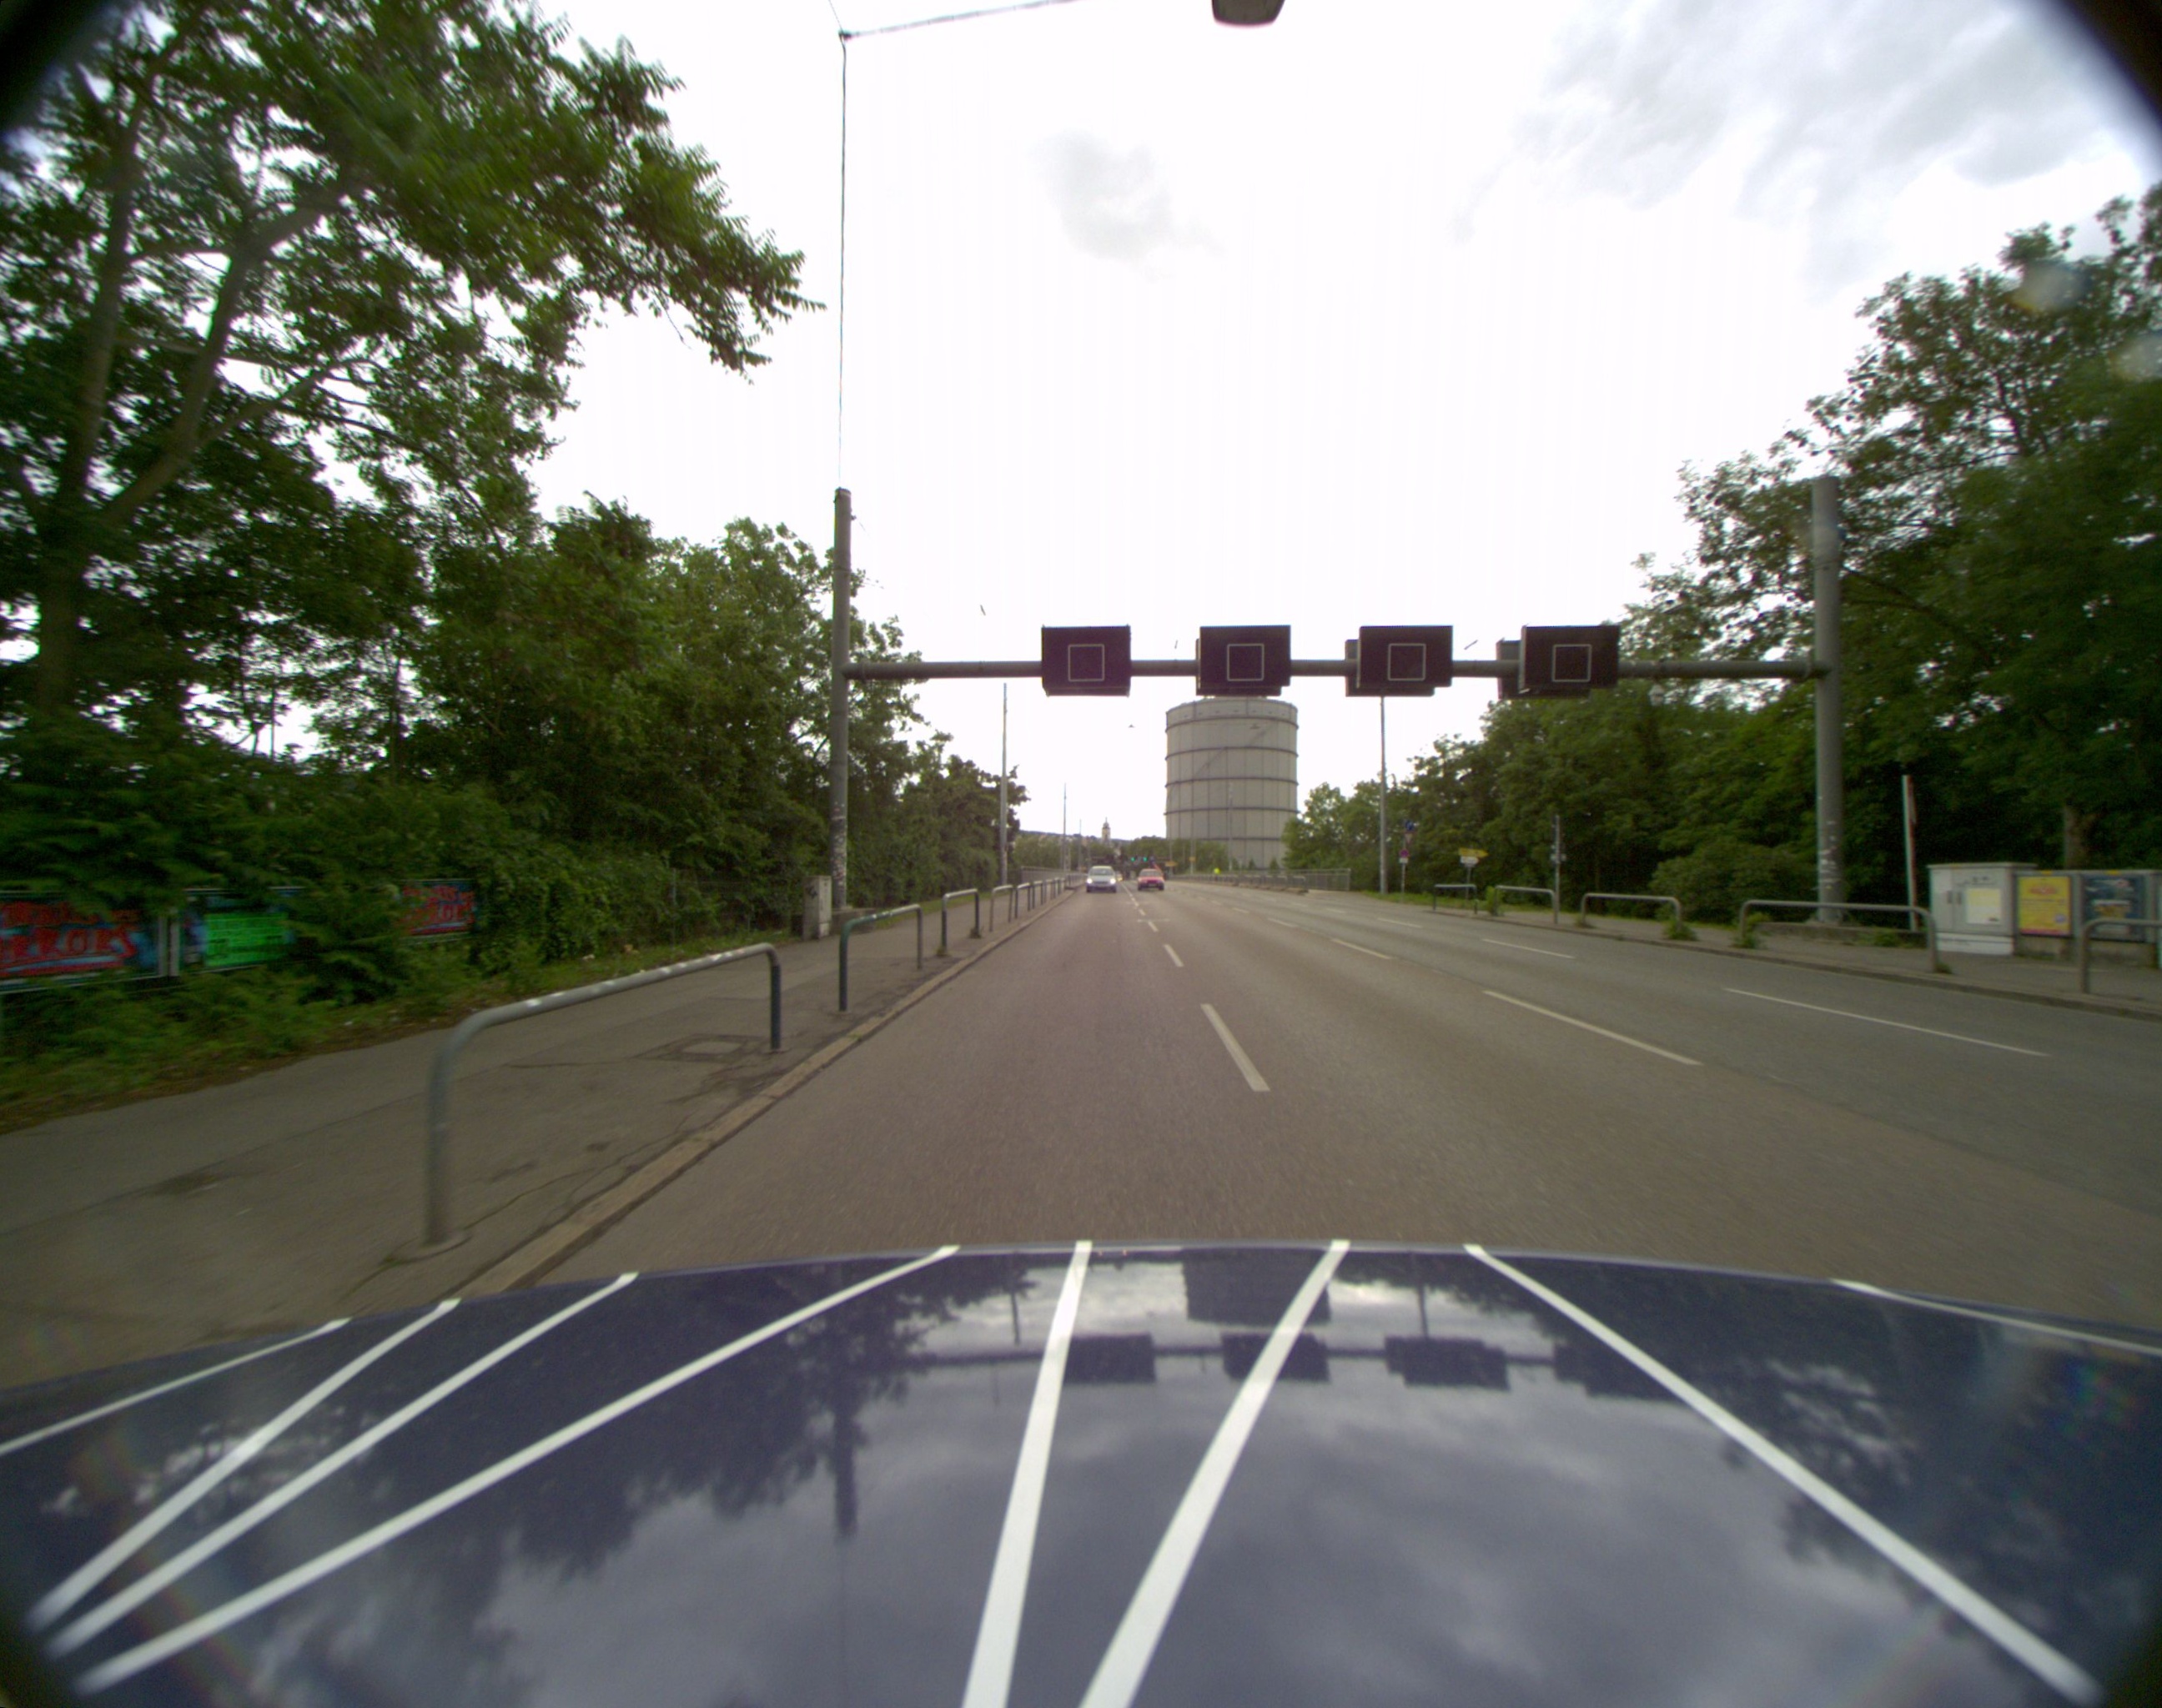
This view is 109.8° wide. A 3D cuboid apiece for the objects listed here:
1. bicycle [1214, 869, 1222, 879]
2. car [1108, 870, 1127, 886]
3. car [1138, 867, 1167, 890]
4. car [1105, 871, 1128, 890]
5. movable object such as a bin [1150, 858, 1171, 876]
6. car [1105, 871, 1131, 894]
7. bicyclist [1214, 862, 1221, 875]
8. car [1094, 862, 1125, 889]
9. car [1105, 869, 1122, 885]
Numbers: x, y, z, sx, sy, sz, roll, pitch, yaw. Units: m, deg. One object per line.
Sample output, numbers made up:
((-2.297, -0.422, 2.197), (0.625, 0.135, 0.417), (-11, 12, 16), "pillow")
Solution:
((16.157, 2.350, 89.453), (0.636, 1.057, 1.983), (-7, -2, 5), "bicycle")
((3.878, 2.496, 80.737), (1.879, 1.586, 4.000), (0, 0, 0), "car")
((4.806, 1.667, 51.663), (1.696, 1.434, 4.001), (2, -1, 2), "car")
((3.167, 2.334, 68.532), (1.879, 1.586, 4.000), (0, 0, 0), "car")
((16.018, 2.635, 153.738), (3.463, 3.303, 9.361), (2, -1, 3), "movable object such as a bin")
((2.882, 2.215, 59.455), (1.879, 1.586, 4.000), (0, 0, 0), "car")
((16.070, 1.761, 89.503), (0.627, 1.467, 0.671), (-7, -1, 4), "bicyclist")
((1.740, 1.271, 46.310), (1.771, 1.565, 4.001), (1, 0, 3), "car")
((3.593, 2.585, 85.079), (1.776, 1.696, 4.000), (-1, 0, 2), "car")
